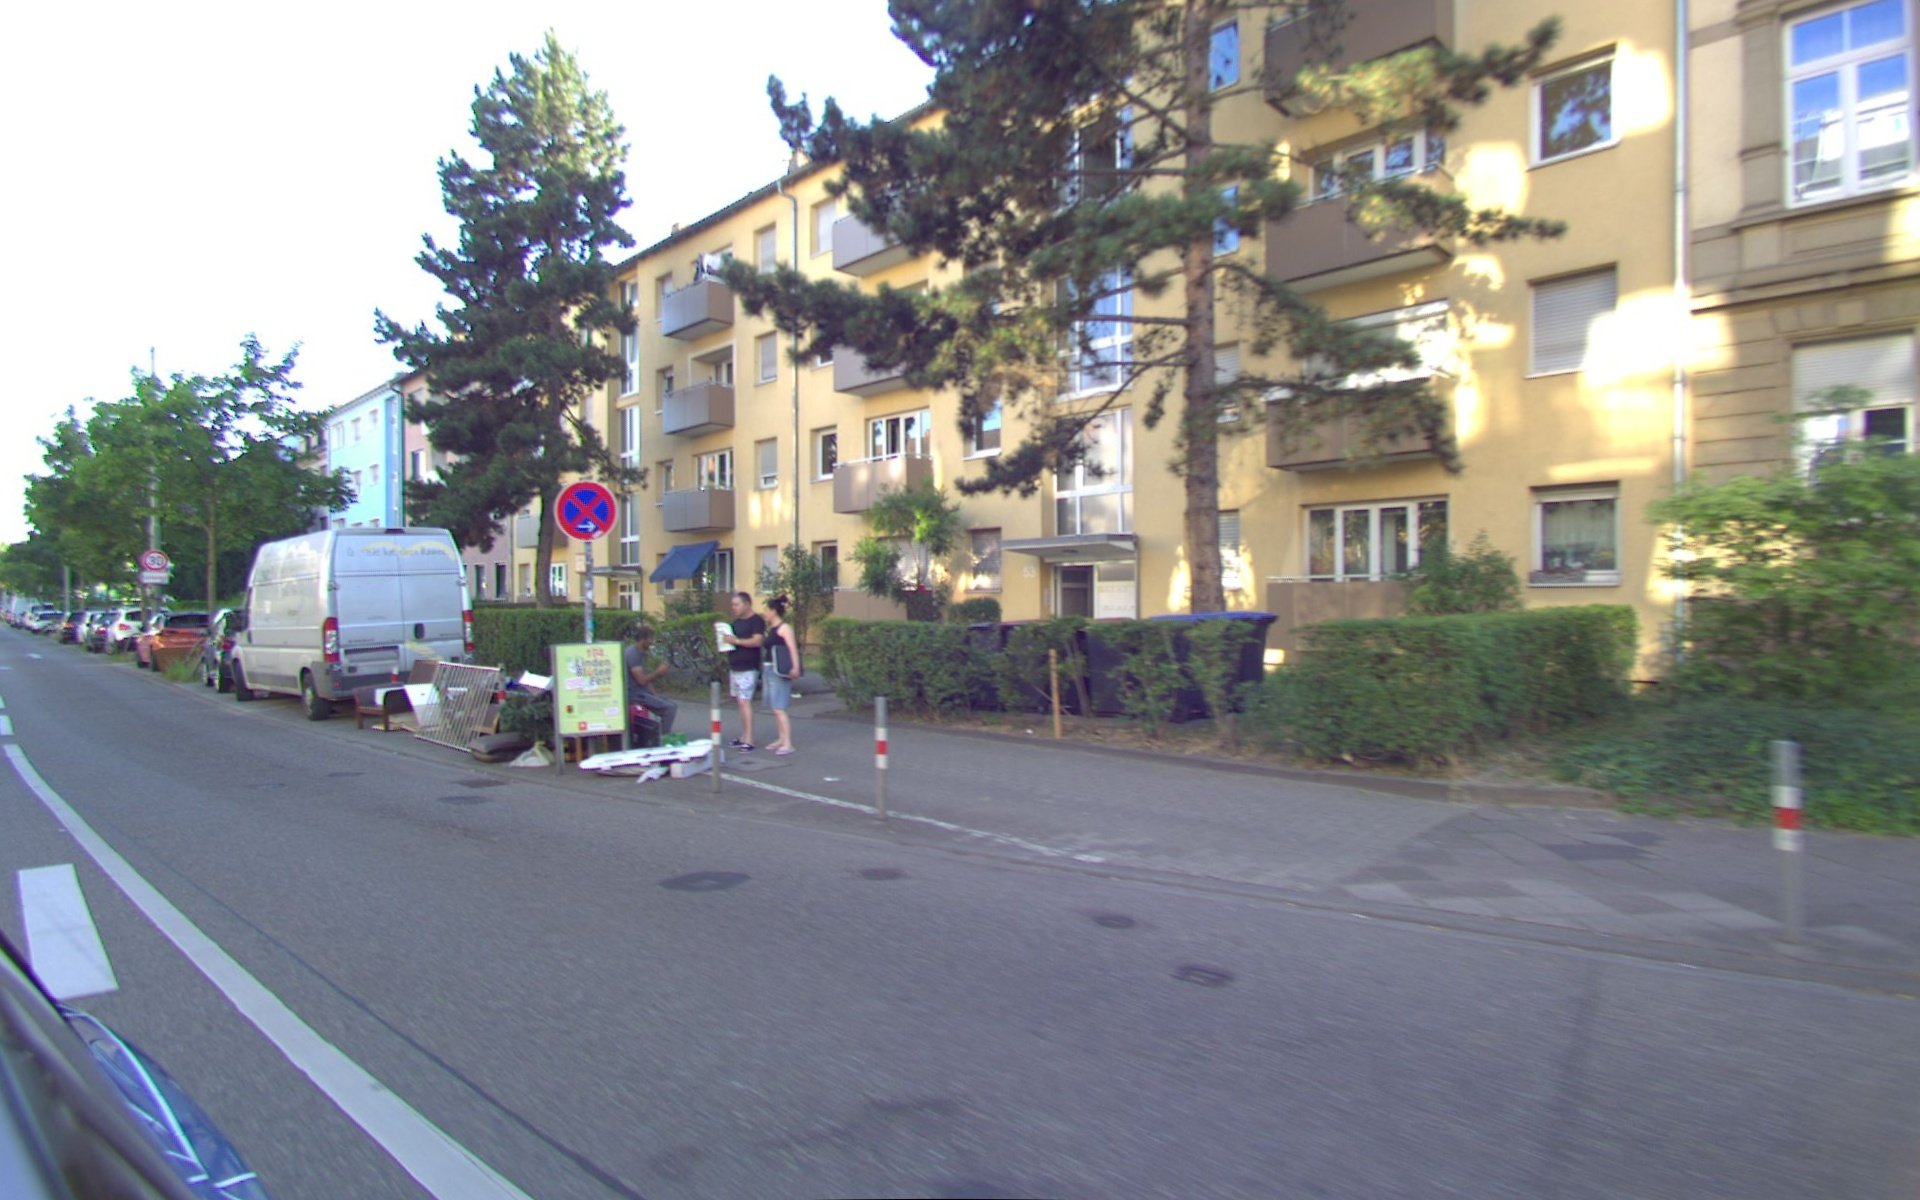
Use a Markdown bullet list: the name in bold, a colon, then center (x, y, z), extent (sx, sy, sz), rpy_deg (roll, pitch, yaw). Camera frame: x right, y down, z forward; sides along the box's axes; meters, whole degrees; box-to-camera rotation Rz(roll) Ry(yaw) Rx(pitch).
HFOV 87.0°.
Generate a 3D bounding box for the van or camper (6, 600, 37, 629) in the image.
- **van or camper**: center (-86.898, 1.331, 93.673), extent (1.891, 2.562, 5.338), rpy_deg (0, 0, -45)

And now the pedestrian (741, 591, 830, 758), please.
- **pedestrian**: center (-1.815, 0.739, 10.530), extent (0.696, 1.664, 0.598), rpy_deg (-1, 0, 39)

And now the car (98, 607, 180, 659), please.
- **car**: center (-27.788, 1.059, 34.215), extent (1.756, 1.600, 4.188), rpy_deg (-2, 1, -45)

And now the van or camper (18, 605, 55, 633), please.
- **van or camper**: center (-70.890, 1.431, 77.685), extent (4.866, 2.029, 1.784), rpy_deg (-1, 0, 44)

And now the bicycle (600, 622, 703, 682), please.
- **bicycle**: center (-5.684, 0.942, 18.710), extent (1.738, 0.989, 0.590), rpy_deg (-2, 1, -44)

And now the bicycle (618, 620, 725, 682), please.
- **bicycle**: center (-5.154, 0.887, 18.176), extent (1.764, 0.989, 0.590), rpy_deg (-2, 1, -44)

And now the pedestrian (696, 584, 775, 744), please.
- **pedestrian**: center (-2.438, 0.670, 10.981), extent (0.724, 1.664, 0.475), rpy_deg (-1, 0, 39)

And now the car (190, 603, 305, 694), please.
- **car**: center (-13.783, 0.875, 19.531), extent (1.387, 1.560, 2.764), rpy_deg (-3, 1, -43)

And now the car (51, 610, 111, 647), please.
- **car**: center (-40.355, 1.260, 46.406), extent (1.816, 1.529, 4.319), rpy_deg (-2, 1, -44)

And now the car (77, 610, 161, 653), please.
- **car**: center (-31.432, 1.129, 37.781), extent (4.460, 1.459, 1.971), rpy_deg (0, 0, 45)

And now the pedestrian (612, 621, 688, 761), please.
- **pedestrian**: center (-3.258, 0.932, 10.645), extent (0.480, 1.388, 0.553), rpy_deg (-1, 1, 40)

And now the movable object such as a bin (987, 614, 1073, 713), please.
- **movable object such as a bin**: center (0.816, 0.713, 11.782), extent (0.582, 1.058, 0.802), rpy_deg (-1, 2, 44)

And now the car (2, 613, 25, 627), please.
- **car**: center (-105.140, 2.245, 112.446), extent (1.737, 1.459, 3.791), rpy_deg (-1, 0, -40)

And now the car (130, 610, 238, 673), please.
- **car**: center (-20.118, 1.029, 26.181), extent (1.697, 1.462, 3.925), rpy_deg (-2, 0, -45)

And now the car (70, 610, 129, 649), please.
- **car**: center (-36.549, 1.226, 42.947), extent (3.643, 1.503, 1.573), rpy_deg (0, 1, 44)

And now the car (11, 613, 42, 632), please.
- **car**: center (-77.209, 1.812, 83.678), extent (1.783, 1.509, 3.960), rpy_deg (-1, 0, -43)

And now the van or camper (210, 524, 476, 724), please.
- **van or camper**: center (-10.139, 0.305, 16.360), extent (6.015, 2.683, 2.014), rpy_deg (-1, 2, 43)

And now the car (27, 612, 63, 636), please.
- **car**: center (-60.256, 1.585, 66.646), extent (1.660, 1.454, 3.885), rpy_deg (-2, 1, -43)
